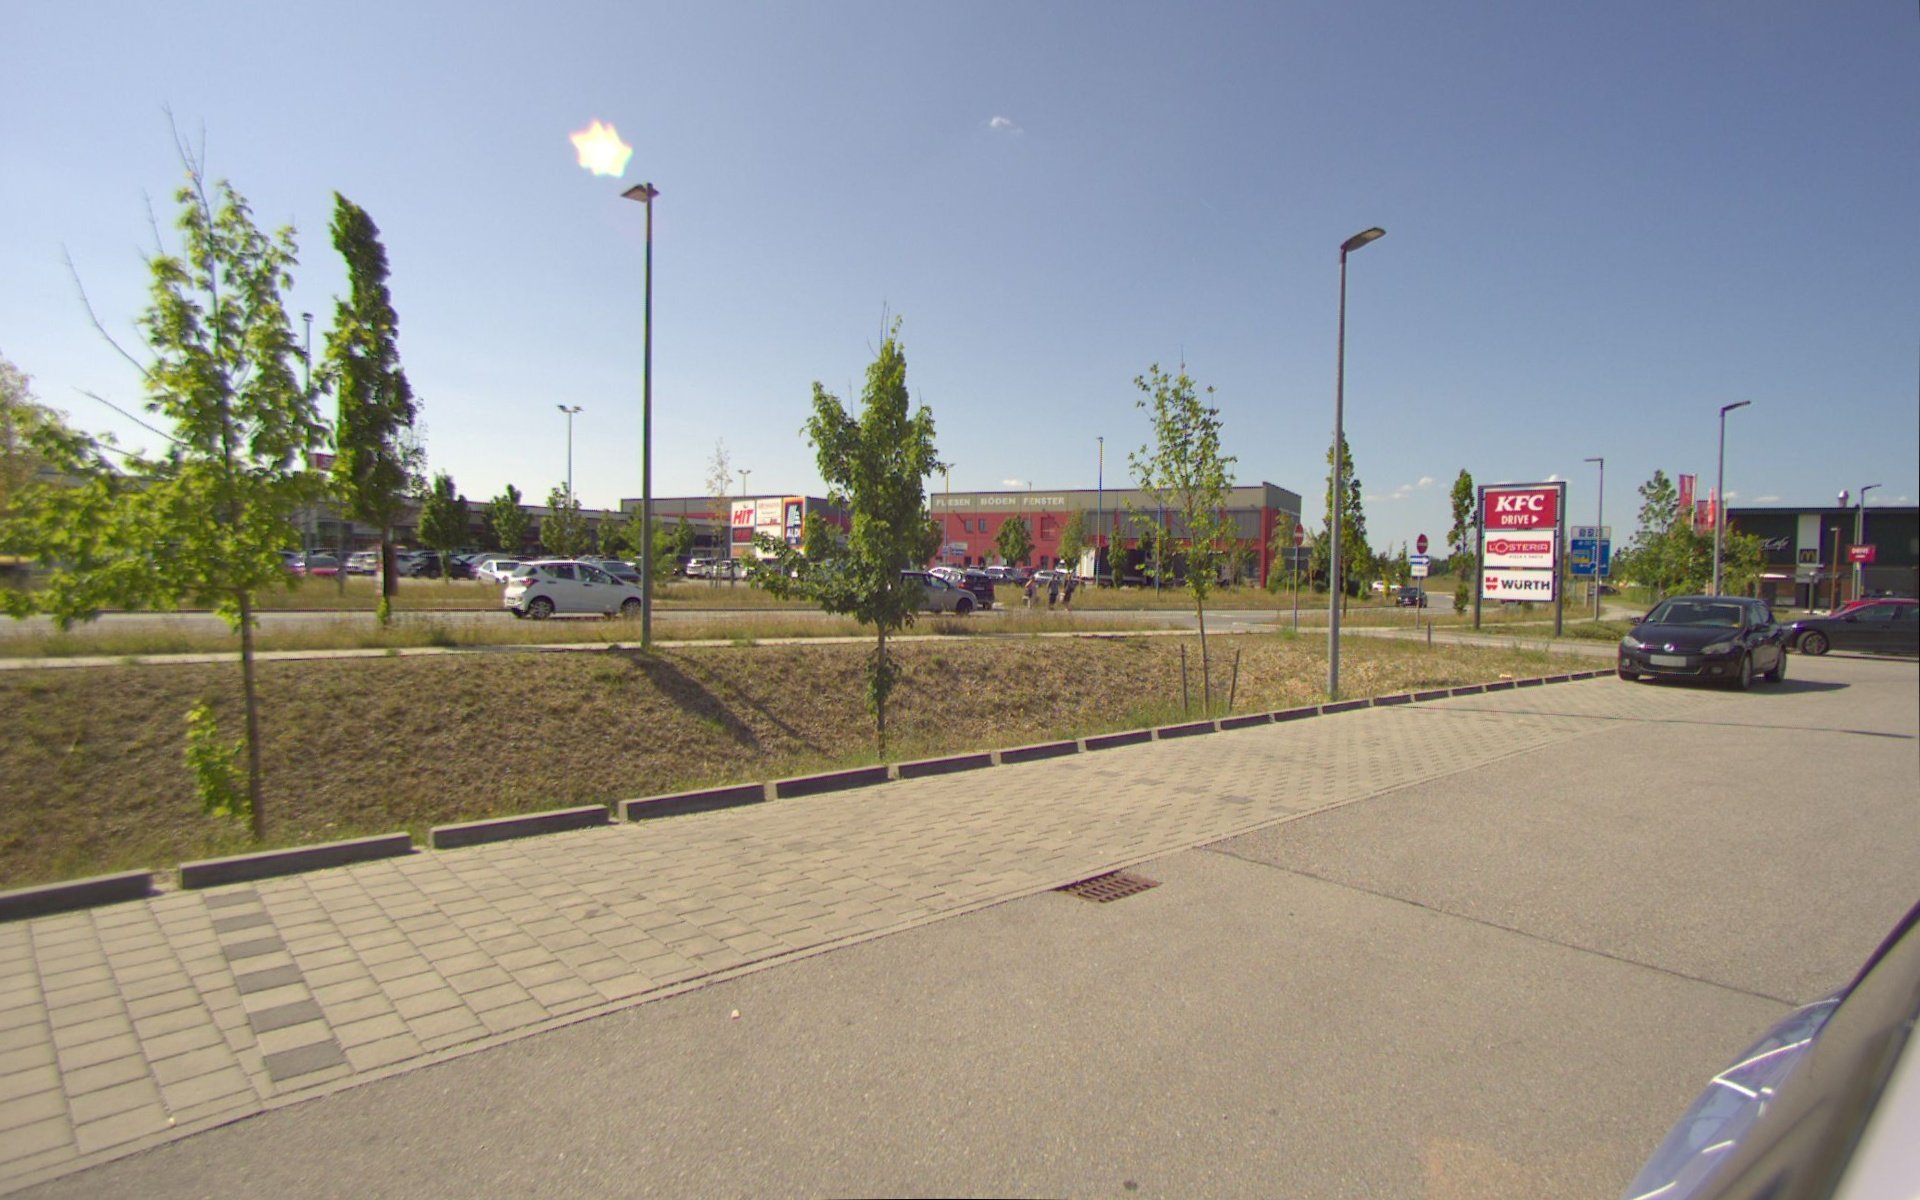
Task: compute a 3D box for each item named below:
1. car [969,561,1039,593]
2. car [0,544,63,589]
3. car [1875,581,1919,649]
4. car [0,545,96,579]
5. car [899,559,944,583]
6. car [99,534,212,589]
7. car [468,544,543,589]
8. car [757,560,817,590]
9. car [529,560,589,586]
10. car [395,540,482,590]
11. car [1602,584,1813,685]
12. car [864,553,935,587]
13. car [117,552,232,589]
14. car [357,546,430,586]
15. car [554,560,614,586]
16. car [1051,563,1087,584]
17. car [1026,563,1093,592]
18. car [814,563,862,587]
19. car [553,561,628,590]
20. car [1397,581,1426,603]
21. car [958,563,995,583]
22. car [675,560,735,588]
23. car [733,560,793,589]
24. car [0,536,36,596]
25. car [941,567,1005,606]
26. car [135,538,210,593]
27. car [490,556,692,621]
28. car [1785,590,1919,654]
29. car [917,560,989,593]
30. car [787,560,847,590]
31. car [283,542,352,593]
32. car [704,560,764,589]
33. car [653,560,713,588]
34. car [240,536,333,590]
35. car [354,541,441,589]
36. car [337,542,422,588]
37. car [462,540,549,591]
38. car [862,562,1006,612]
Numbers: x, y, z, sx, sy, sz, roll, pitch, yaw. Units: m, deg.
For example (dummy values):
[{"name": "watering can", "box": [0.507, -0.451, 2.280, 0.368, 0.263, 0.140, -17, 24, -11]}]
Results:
[{"name": "car", "box": [2.958, -1.563, 68.362, 4.467, 2.063, 1.970, 2, 1, 42]}, {"name": "car", "box": [-48.270, -1.662, 50.818, 1.978, 2.219, 4.449, 1, 1, 24]}, {"name": "car", "box": [27.815, 0.469, 27.116, 1.962, 1.858, 4.536, 0, 2, -34]}, {"name": "car", "box": [-44.096, -1.786, 48.114, 1.642, 1.539, 4.302, 1, 1, 31]}, {"name": "car", "box": [-3.373, -2.507, 89.128, 1.983, 2.063, 4.438, 1, 1, 29]}, {"name": "car", "box": [-43.684, -2.041, 55.050, 1.978, 2.856, 4.449, 1, 1, 24]}, {"name": "car", "box": [-30.324, -2.223, 67.651, 1.978, 2.856, 4.449, 1, 1, 24]}, {"name": "car", "box": [-12.560, -1.819, 73.741, 1.983, 2.063, 4.438, 1, 1, 29]}, {"name": "car", "box": [-33.460, -2.249, 84.651, 1.983, 2.063, 4.438, 1, 1, 29]}, {"name": "car", "box": [-31.273, -2.071, 60.791, 1.978, 2.856, 4.449, 1, 1, 24]}, {"name": "car", "box": [12.953, 0.511, 17.453, 4.285, 1.483, 1.877, 0, 2, -39]}, {"name": "car", "box": [-4.054, -1.964, 67.996, 4.398, 2.213, 2.001, 0, 1, -34]}, {"name": "car", "box": [-41.388, -1.548, 53.441, 1.983, 1.886, 4.438, 1, 1, 29]}, {"name": "car", "box": [-42.025, -2.497, 75.176, 1.983, 2.856, 4.438, 1, 1, 29]}, {"name": "car", "box": [-31.053, -2.206, 83.686, 1.983, 2.063, 4.438, 1, 1, 29]}, {"name": "car", "box": [10.978, -2.674, 101.463, 1.983, 2.063, 4.438, 1, 1, 29]}, {"name": "car", "box": [7.065, -1.614, 72.033, 4.467, 2.063, 1.970, 2, 1, 42]}, {"name": "car", "box": [-10.672, -2.155, 88.821, 1.983, 2.063, 4.438, 1, 1, 29]}, {"name": "car", "box": [-23.355, -1.556, 64.099, 1.983, 1.806, 4.271, 1, 1, 29]}, {"name": "car", "box": [33.911, -0.611, 75.955, 1.811, 1.560, 3.963, 2, 1, 27]}, {"name": "car", "box": [1.758, -2.885, 107.183, 1.983, 2.063, 4.438, 1, 1, 29]}, {"name": "car", "box": [-19.554, -1.970, 77.702, 1.983, 2.063, 4.438, 1, 1, 29]}, {"name": "car", "box": [-14.636, -1.877, 75.500, 1.983, 2.063, 4.438, 1, 1, 29]}, {"name": "car", "box": [-34.059, -1.223, 35.666, 2.128, 2.038, 5.105, -1, 2, -43]}, {"name": "car", "box": [0.497, -0.612, 44.312, 1.906, 1.570, 4.770, 0, 1, -11]}, {"name": "car", "box": [-30.596, -1.345, 39.263, 1.912, 2.038, 4.401, 0, 2, -43]}, {"name": "car", "box": [-9.705, -0.332, 26.844, 4.680, 1.570, 1.943, -1, 2, -42]}, {"name": "car", "box": [23.818, 0.564, 25.493, 1.967, 1.476, 4.522, 0, 2, -44]}, {"name": "car", "box": [-0.450, -1.509, 64.792, 4.467, 2.063, 1.970, 2, 1, 42]}, {"name": "car", "box": [-10.194, -1.764, 72.238, 1.983, 2.063, 4.438, 1, 1, 29]}, {"name": "car", "box": [-27.039, -1.386, 42.521, 1.850, 2.038, 4.132, 0, 2, -41]}, {"name": "car", "box": [-17.069, -1.921, 76.479, 1.983, 2.063, 4.438, 1, 1, 29]}, {"name": "car", "box": [-21.601, -2.016, 78.951, 1.983, 2.063, 4.438, 1, 1, 29]}, {"name": "car", "box": [-37.268, -2.013, 56.151, 1.965, 2.856, 4.479, 1, 1, 5]}, {"name": "car", "box": [-35.450, -2.177, 63.848, 1.983, 2.856, 4.438, 1, 1, 29]}, {"name": "car", "box": [-37.678, -2.242, 65.825, 1.983, 2.856, 4.438, 1, 1, 29]}, {"name": "car", "box": [-26.261, -1.978, 58.624, 1.978, 2.856, 4.449, 1, 1, 24]}, {"name": "car", "box": [-0.840, -0.452, 34.466, 4.675, 1.570, 1.945, -1, 1, -39]}]
